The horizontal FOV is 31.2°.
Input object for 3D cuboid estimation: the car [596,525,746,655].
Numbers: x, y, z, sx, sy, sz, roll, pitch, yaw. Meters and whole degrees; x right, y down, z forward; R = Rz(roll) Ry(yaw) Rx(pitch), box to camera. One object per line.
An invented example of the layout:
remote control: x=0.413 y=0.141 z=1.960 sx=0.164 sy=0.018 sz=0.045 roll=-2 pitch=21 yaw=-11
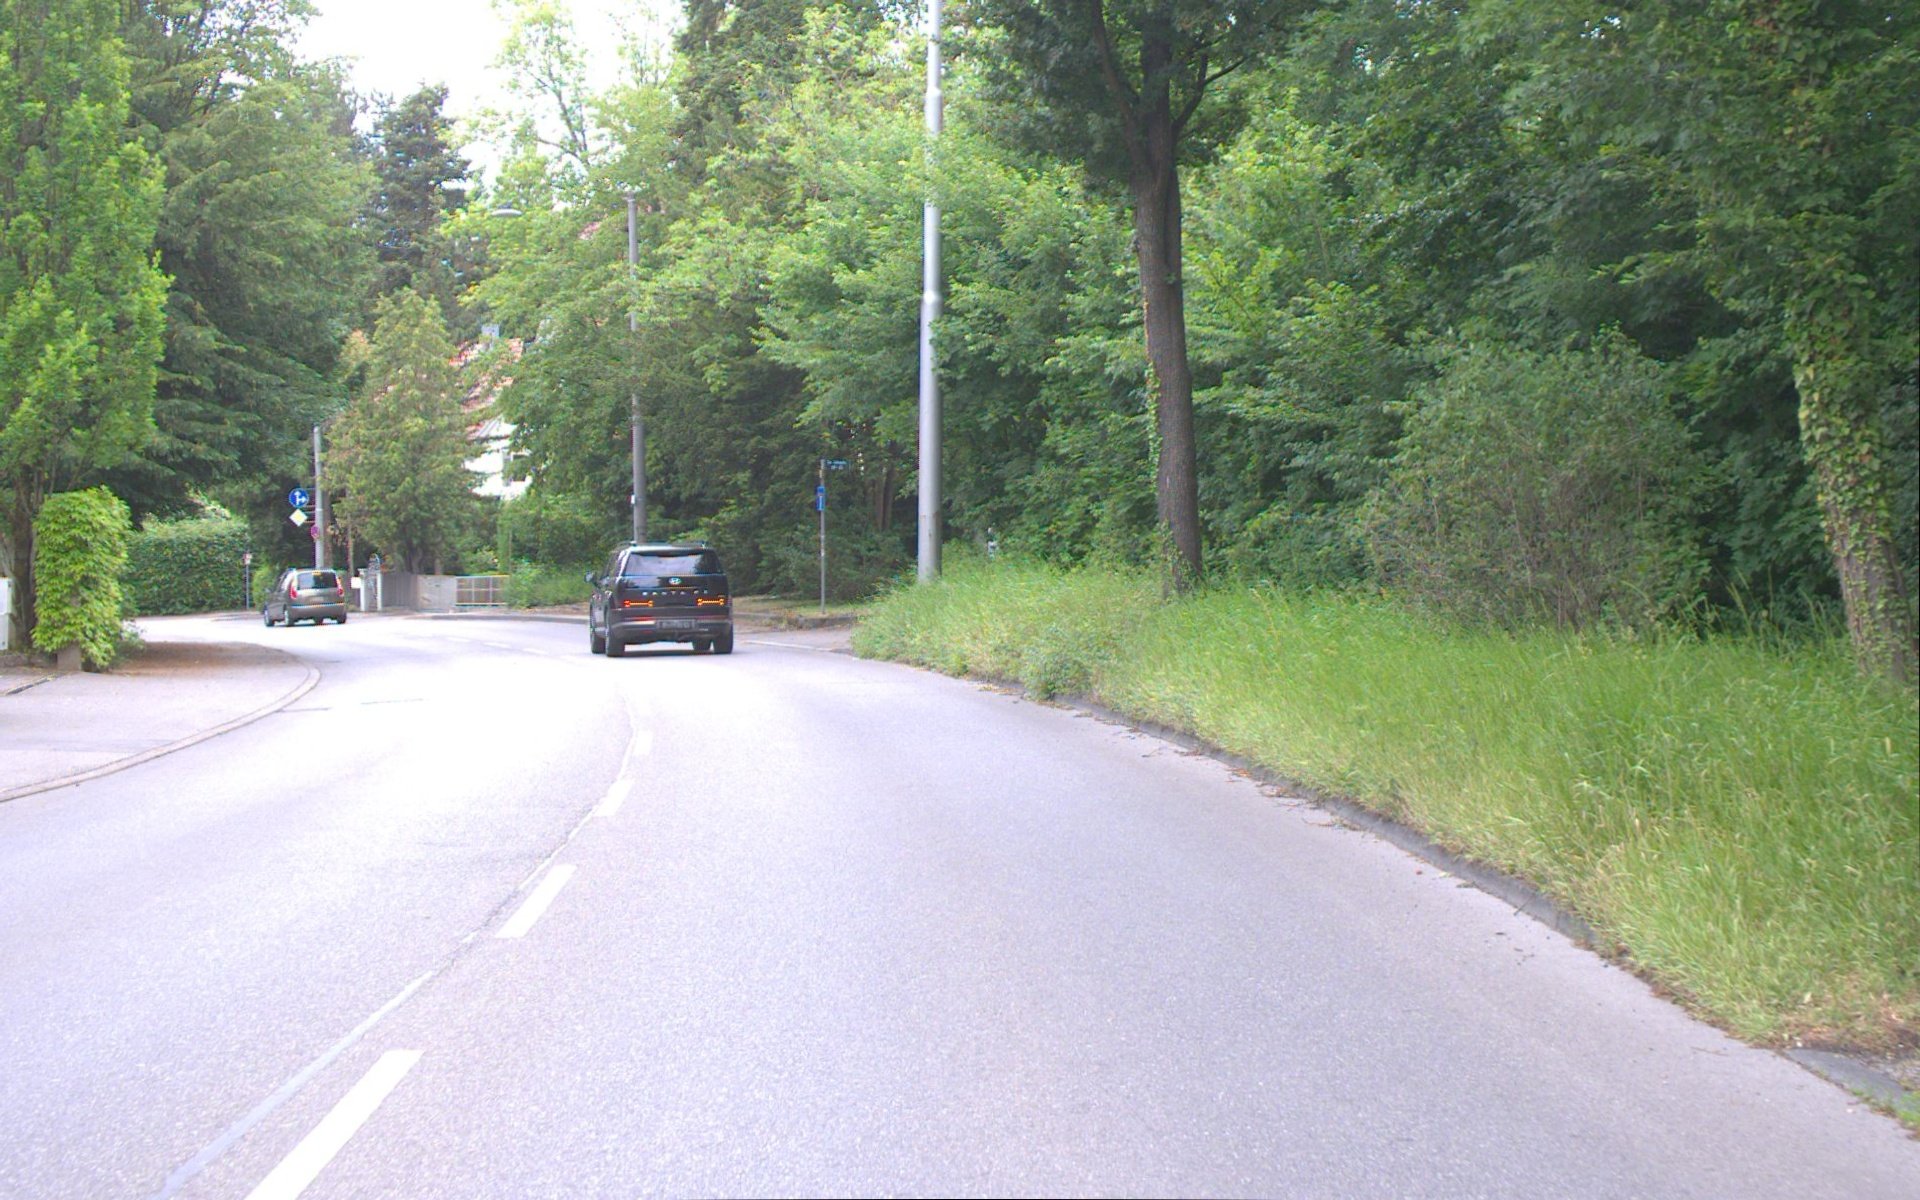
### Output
car: x=-4.506 y=-0.193 z=53.075 sx=1.993 sy=1.875 sz=4.001 roll=-1 pitch=2 yaw=-9

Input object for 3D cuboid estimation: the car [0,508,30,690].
car: x=-13.300 y=0.002 z=40.345 sx=2.419 sy=2.066 sz=5.359 roll=-2 pitch=1 yaw=-42

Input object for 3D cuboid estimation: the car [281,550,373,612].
car: x=-17.530 y=-0.544 z=95.085 sx=1.993 sy=1.612 sz=4.001 roll=-1 pitch=2 yaw=-18
